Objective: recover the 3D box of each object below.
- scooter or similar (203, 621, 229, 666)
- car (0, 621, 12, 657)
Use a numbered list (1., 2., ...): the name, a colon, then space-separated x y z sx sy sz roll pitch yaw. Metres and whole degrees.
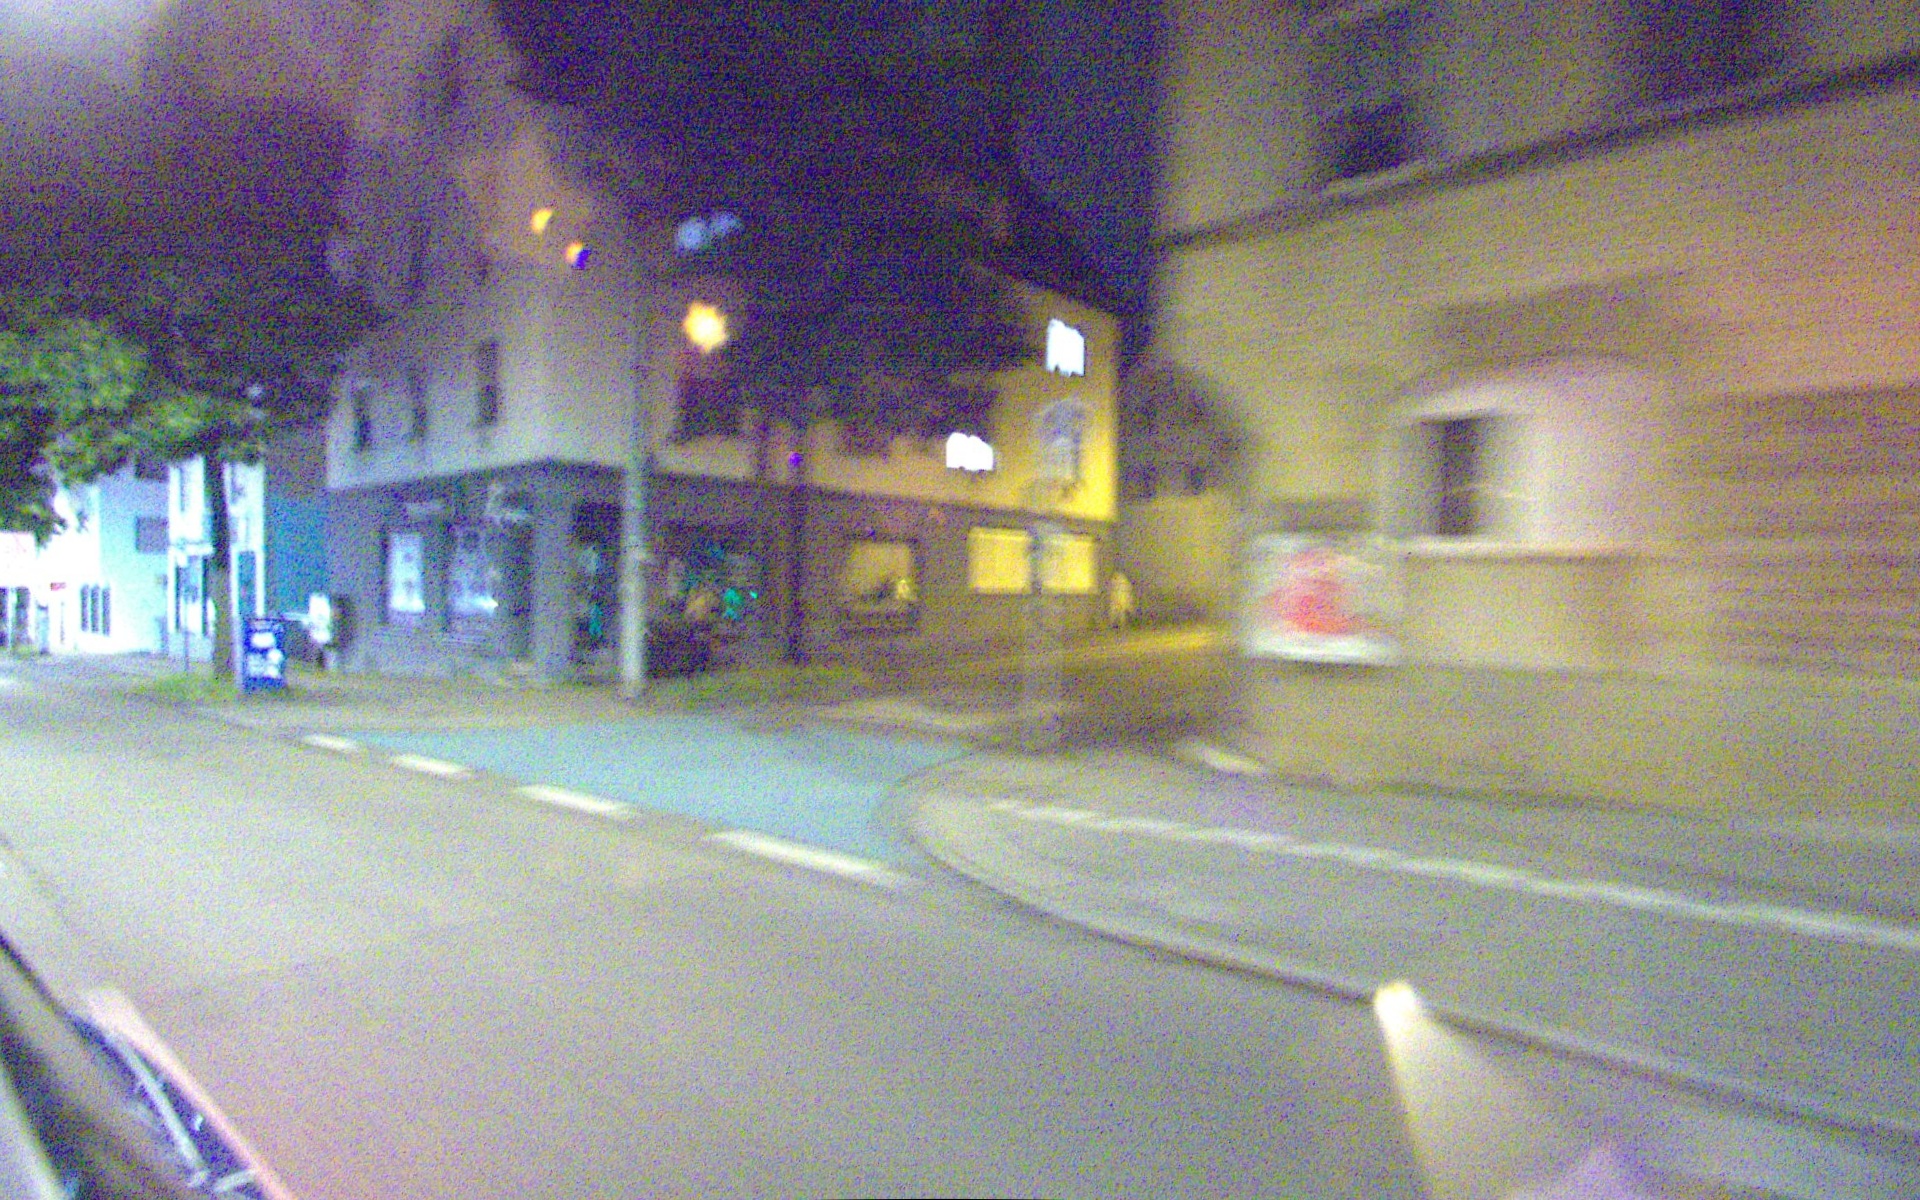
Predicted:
1. scooter or similar: -21.357 1.232 29.032 1.335 1.235 0.328 -1 1 43
2. car: -42.351 1.705 43.581 4.288 1.497 1.709 -1 1 40
